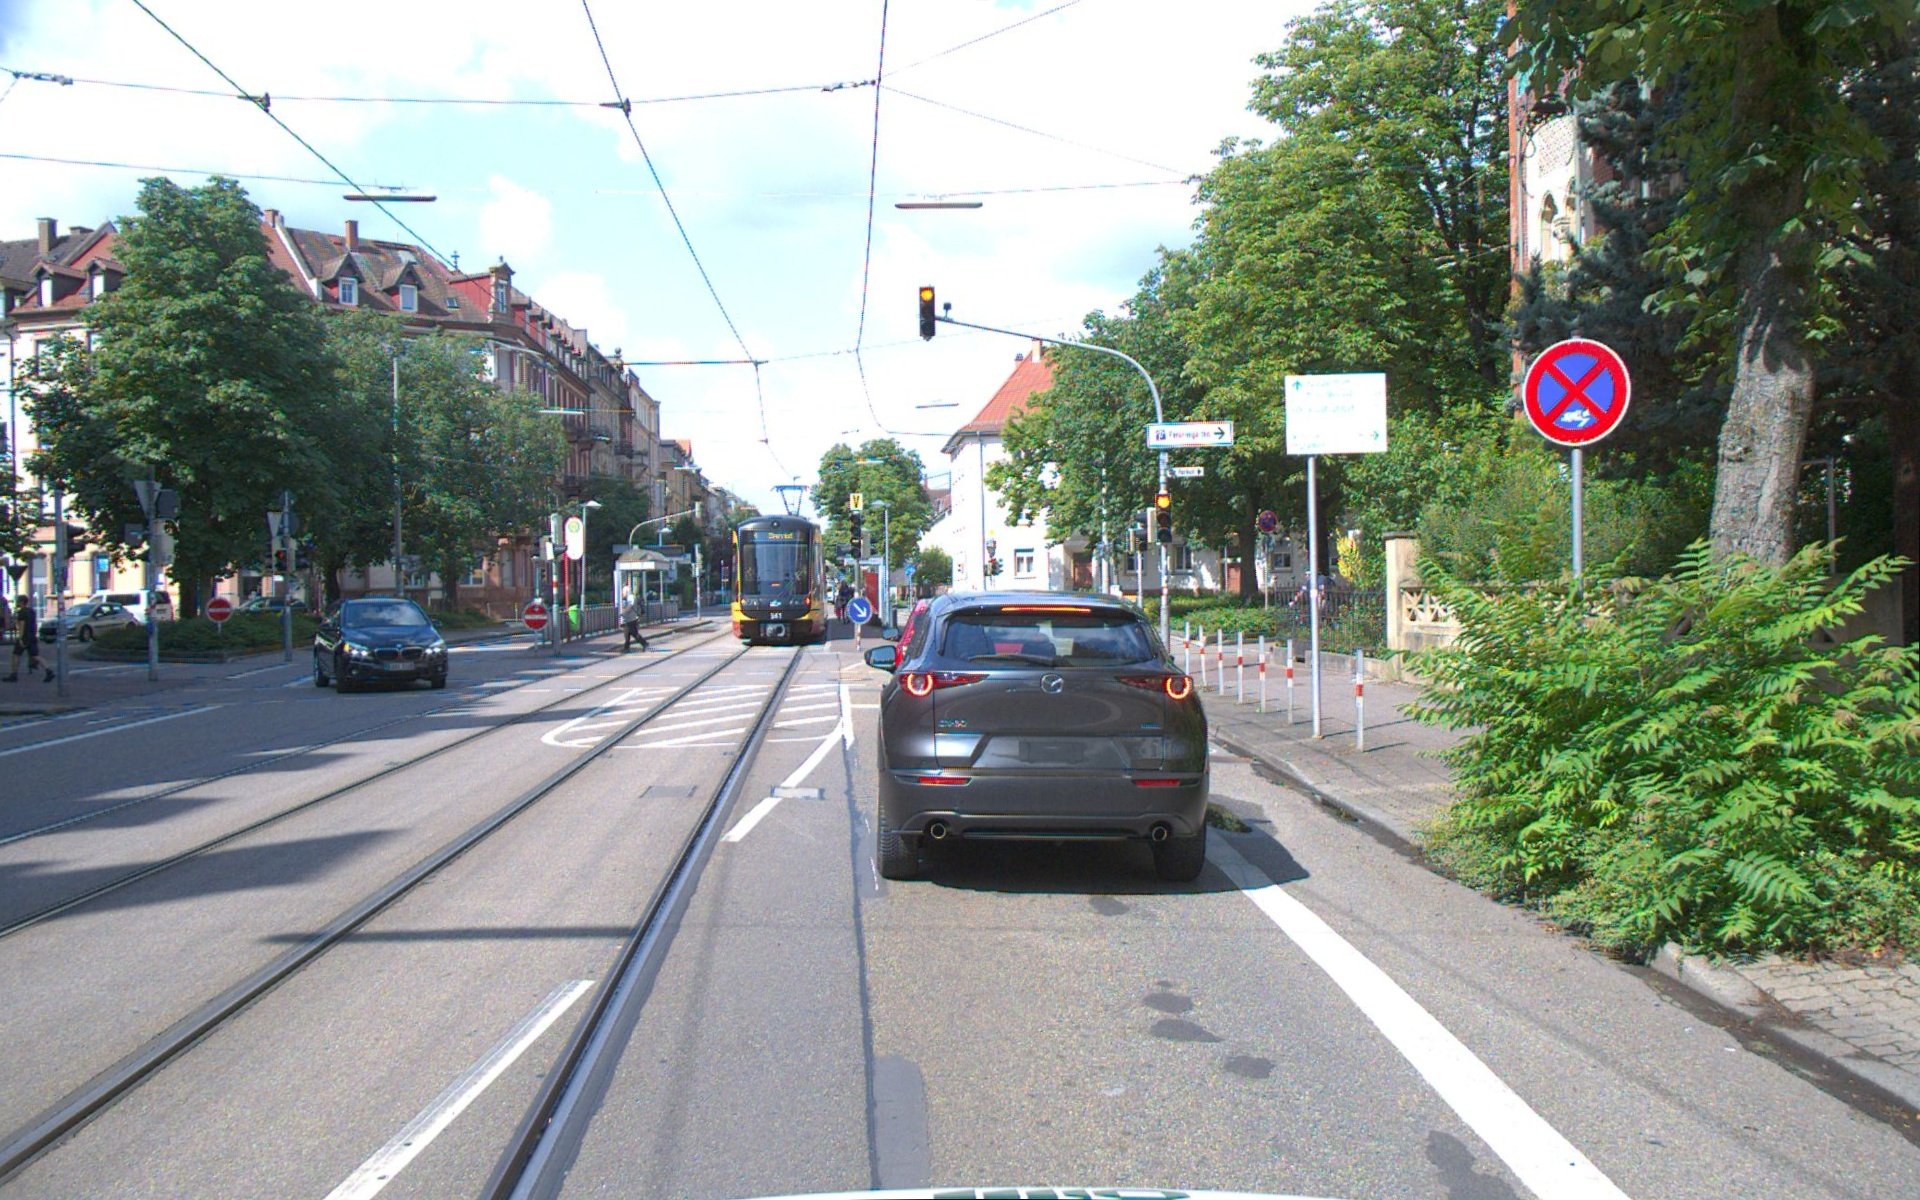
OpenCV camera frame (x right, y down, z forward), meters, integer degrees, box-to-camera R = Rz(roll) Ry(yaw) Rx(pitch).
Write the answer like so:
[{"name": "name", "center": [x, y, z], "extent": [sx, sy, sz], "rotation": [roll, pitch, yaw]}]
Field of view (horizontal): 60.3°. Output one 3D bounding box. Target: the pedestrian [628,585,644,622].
[{"name": "pedestrian", "center": [-12.604, 0.123, 64.331], "extent": [0.420, 1.423, 0.397], "rotation": [-1, 0, 30]}]

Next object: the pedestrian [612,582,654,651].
[{"name": "pedestrian", "center": [-8.351, 0.415, 42.271], "extent": [0.702, 1.735, 0.824], "rotation": [-1, 0, 22]}]

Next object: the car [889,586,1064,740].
[{"name": "car", "center": [0.130, 0.621, 18.702], "extent": [1.742, 1.526, 3.999], "rotation": [1, 0, -1]}]

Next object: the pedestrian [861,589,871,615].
[{"name": "pedestrian", "center": [-3.672, 0.094, 64.477], "extent": [0.372, 1.001, 0.474], "rotation": [-1, 0, -6]}]

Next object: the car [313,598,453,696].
[{"name": "car", "center": [-10.116, 0.764, 28.835], "extent": [1.735, 1.545, 4.031], "rotation": [-1, 0, -28]}]

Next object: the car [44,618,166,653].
[{"name": "car", "center": [-32.724, 1.332, 63.408], "extent": [1.639, 1.203, 3.998], "rotation": [-1, 0, 24]}]

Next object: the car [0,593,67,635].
[{"name": "car", "center": [-38.670, 0.571, 66.921], "extent": [3.906, 1.624, 2.000], "rotation": [-1, 0, -1]}]

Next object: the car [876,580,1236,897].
[{"name": "car", "center": [0.430, 0.665, 10.101], "extent": [1.742, 1.526, 3.999], "rotation": [1, 0, -1]}]

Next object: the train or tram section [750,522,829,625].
[{"name": "train or tram section", "center": [-6.565, -1.082, 65.091], "extent": [2.699, 3.551, 14.395], "rotation": [-1, 1, -5]}]

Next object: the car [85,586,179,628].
[{"name": "car", "center": [-39.559, 0.342, 79.021], "extent": [3.906, 1.937, 1.999], "rotation": [-1, 0, 24]}]

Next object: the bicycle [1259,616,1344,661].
[{"name": "bicycle", "center": [6.774, 0.755, 32.827], "extent": [1.671, 0.838, 0.491], "rotation": [-1, 0, -24]}]

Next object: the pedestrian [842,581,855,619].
[{"name": "pedestrian", "center": [-4.330, -0.005, 64.237], "extent": [0.441, 1.459, 0.474], "rotation": [-1, 0, -6]}]

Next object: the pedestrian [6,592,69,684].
[{"name": "pedestrian", "center": [-17.568, 0.718, 31.507], "extent": [0.735, 1.713, 0.701], "rotation": [-1, 0, 8]}]

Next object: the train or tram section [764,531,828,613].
[{"name": "train or tram section", "center": [-7.760, -1.386, 79.464], "extent": [2.699, 3.551, 14.395], "rotation": [-1, 1, -5]}]

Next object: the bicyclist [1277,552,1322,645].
[{"name": "bicyclist", "center": [6.722, -0.033, 32.783], "extent": [0.599, 1.824, 0.654], "rotation": [-1, 0, -21]}]

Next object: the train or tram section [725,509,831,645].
[{"name": "train or tram section", "center": [-5.381, -0.773, 50.767], "extent": [2.699, 3.551, 14.395], "rotation": [-1, 1, -5]}]

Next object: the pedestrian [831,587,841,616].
[{"name": "pedestrian", "center": [-4.798, 0.047, 63.843], "extent": [0.372, 1.089, 0.474], "rotation": [-1, 0, -4]}]
